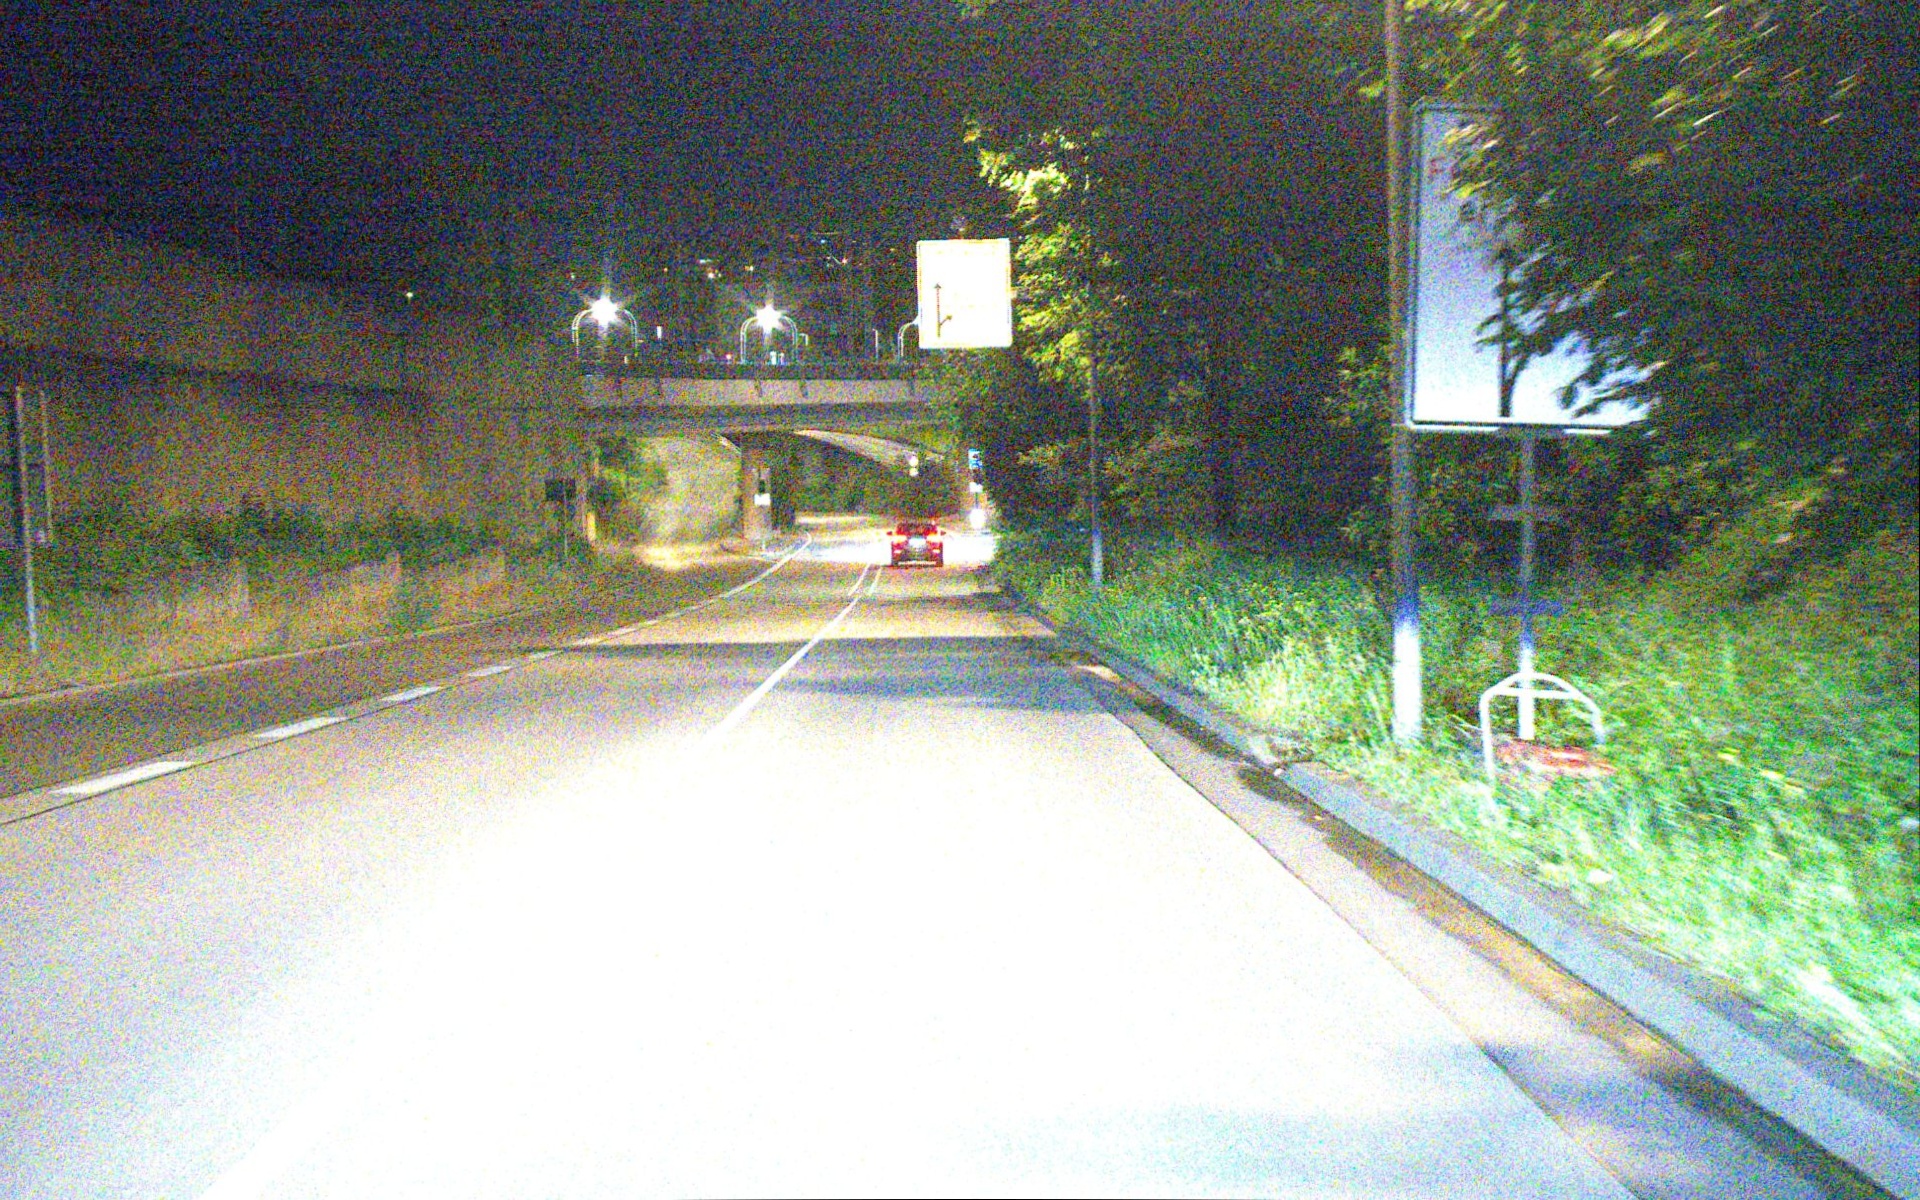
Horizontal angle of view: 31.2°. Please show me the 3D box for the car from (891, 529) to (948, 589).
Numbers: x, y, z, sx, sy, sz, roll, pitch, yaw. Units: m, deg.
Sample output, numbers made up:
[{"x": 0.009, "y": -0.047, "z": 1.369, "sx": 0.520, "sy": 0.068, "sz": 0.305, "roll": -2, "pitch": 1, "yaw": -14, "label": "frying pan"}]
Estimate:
[{"x": -1.403, "y": -1.403, "z": 118.903, "sx": 1.918, "sy": 2.007, "sz": 4.123, "roll": 1, "pitch": 1, "yaw": -1, "label": "car"}]
